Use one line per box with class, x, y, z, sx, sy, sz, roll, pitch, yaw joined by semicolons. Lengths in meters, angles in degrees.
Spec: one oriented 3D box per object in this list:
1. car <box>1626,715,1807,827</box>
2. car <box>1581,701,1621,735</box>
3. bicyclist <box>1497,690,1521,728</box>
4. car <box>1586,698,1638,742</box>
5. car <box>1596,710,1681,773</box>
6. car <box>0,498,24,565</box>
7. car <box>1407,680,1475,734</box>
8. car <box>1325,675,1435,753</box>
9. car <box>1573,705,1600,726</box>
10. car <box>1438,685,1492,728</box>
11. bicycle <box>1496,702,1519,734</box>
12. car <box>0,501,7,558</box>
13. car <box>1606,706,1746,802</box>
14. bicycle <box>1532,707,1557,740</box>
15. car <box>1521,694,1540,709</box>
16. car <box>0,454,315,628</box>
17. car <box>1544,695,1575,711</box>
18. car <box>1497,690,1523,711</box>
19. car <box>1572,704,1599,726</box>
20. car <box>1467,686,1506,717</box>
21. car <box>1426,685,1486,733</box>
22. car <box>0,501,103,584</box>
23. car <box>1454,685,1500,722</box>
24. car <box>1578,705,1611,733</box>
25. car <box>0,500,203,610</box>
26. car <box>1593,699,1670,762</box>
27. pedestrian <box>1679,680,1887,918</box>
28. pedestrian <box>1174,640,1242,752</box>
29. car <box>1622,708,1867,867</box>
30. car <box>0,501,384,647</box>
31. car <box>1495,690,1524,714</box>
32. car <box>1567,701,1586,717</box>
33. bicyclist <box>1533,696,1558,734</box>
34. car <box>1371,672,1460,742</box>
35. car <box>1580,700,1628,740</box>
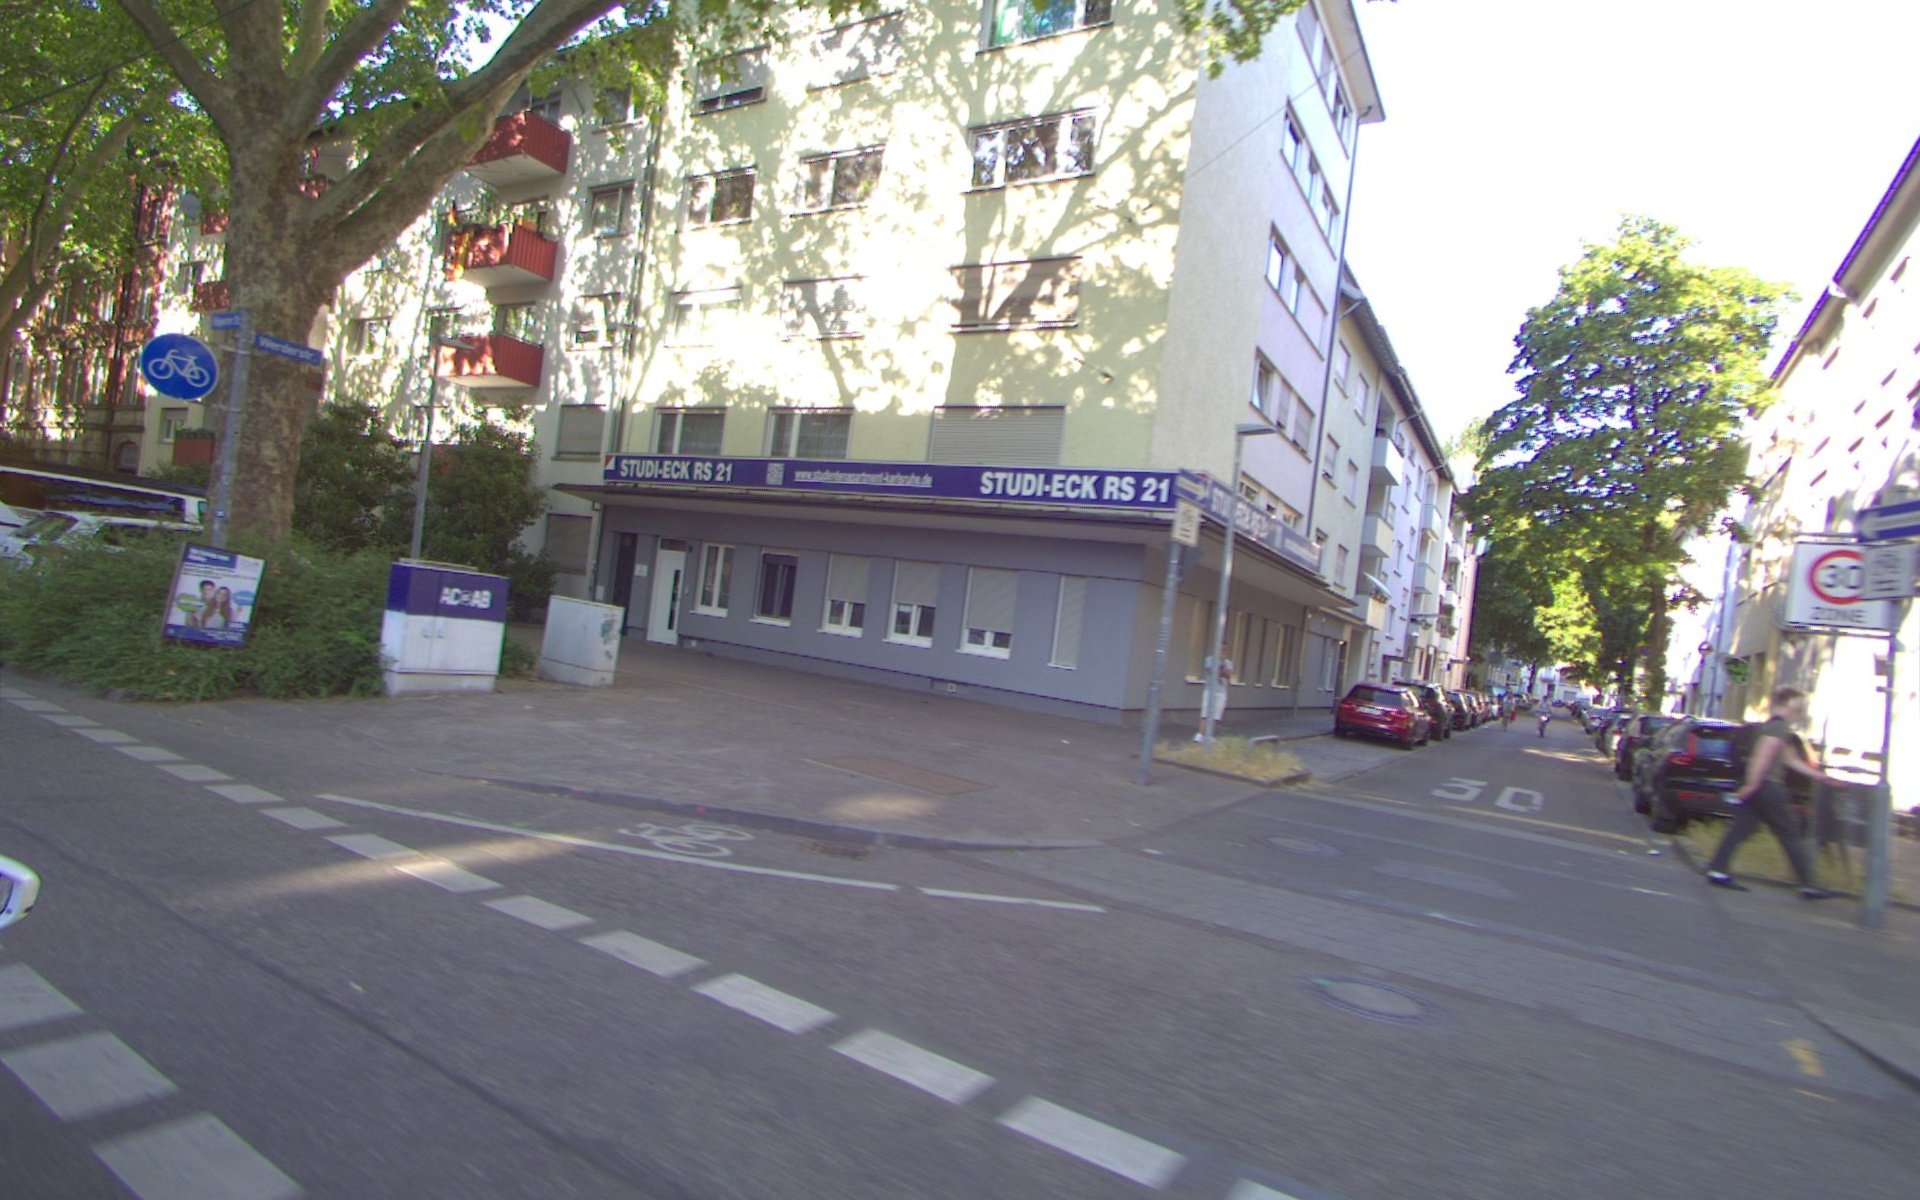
car;13.814;3.032;18.638;1.966;1.521;4.141;5;-3;29
car;41.977;7.695;65.852;1.968;1.811;4.137;9;0;34
bicyclist;23.601;4.665;43.232;0.733;1.521;0.785;7;1;30
car;33.823;6.225;52.197;1.968;1.811;4.137;9;0;34
car;21.772;4.495;32.361;1.968;1.522;4.137;9;0;34
car;-24.152;-1.848;22.727;1.731;1.532;3.994;7;-1;30
car;18.561;4.097;38.739;1.965;1.625;4.141;9;0;29
car;10.558;2.799;25.104;1.965;1.439;4.141;9;0;29
car;64.926;12.004;104.223;1.968;1.811;4.137;9;0;34
car;24.255;5.073;48.258;1.965;1.625;4.141;9;0;29
bicycle;23.587;5.066;43.289;0.733;1.171;1.793;7;1;30
car;-22.666;-1.641;20.579;1.899;1.532;4.151;7;-1;30
car;16.546;3.477;23.474;1.965;1.656;4.141;9;0;29
bicycle;24.129;5.066;41.488;0.733;1.171;1.792;7;1;32
car;86.337;15.403;152.148;1.968;1.811;4.137;9;0;34
car;-12.913;-0.856;15.430;1.966;2.101;4.554;7;-1;29
car;97.438;16.707;163.502;4.075;1.811;1.997;9;0;32
car;52.482;9.627;96.026;1.965;1.625;4.141;9;0;29
car;62.265;11.446;100.072;1.968;1.811;4.137;9;0;34
car;33.926;6.522;64.769;1.965;1.625;4.141;9;0;29
car;21.417;4.668;43.398;1.965;1.625;4.141;9;0;29
car;-20.260;-1.347;20.296;1.891;1.497;4.043;7;-1;32
car;28.387;5.646;55.162;1.965;1.625;4.141;9;0;29
car;51.874;9.722;82.209;1.968;1.811;4.137;9;0;34
car;-15.287;-0.813;16.701;1.694;1.497;3.906;7;-1;29
car;24.222;4.684;36.337;1.968;1.811;4.137;9;0;34
pedestrian;7.462;1.750;9.198;1.168;1.889;0.768;7;0;28
pedestrian;3.920;1.513;15.901;0.655;1.664;0.747;7;0;33
car;10.999;2.514;14.462;1.966;1.612;4.141;7;-2;29
car;-10.807;-0.290;14.102;1.800;1.497;4.305;7;-1;30
car;46.944;8.732;85.979;1.965;1.625;4.141;9;0;29
car;88.836;15.682;144.861;1.968;1.811;4.137;9;0;34
bicyclist;24.147;4.726;41.456;0.733;1.419;0.659;7;1;32
car;13.835;3.214;30.416;1.965;1.625;4.141;9;0;29
car;36.601;6.822;57.149;1.968;1.811;4.137;9;0;34
